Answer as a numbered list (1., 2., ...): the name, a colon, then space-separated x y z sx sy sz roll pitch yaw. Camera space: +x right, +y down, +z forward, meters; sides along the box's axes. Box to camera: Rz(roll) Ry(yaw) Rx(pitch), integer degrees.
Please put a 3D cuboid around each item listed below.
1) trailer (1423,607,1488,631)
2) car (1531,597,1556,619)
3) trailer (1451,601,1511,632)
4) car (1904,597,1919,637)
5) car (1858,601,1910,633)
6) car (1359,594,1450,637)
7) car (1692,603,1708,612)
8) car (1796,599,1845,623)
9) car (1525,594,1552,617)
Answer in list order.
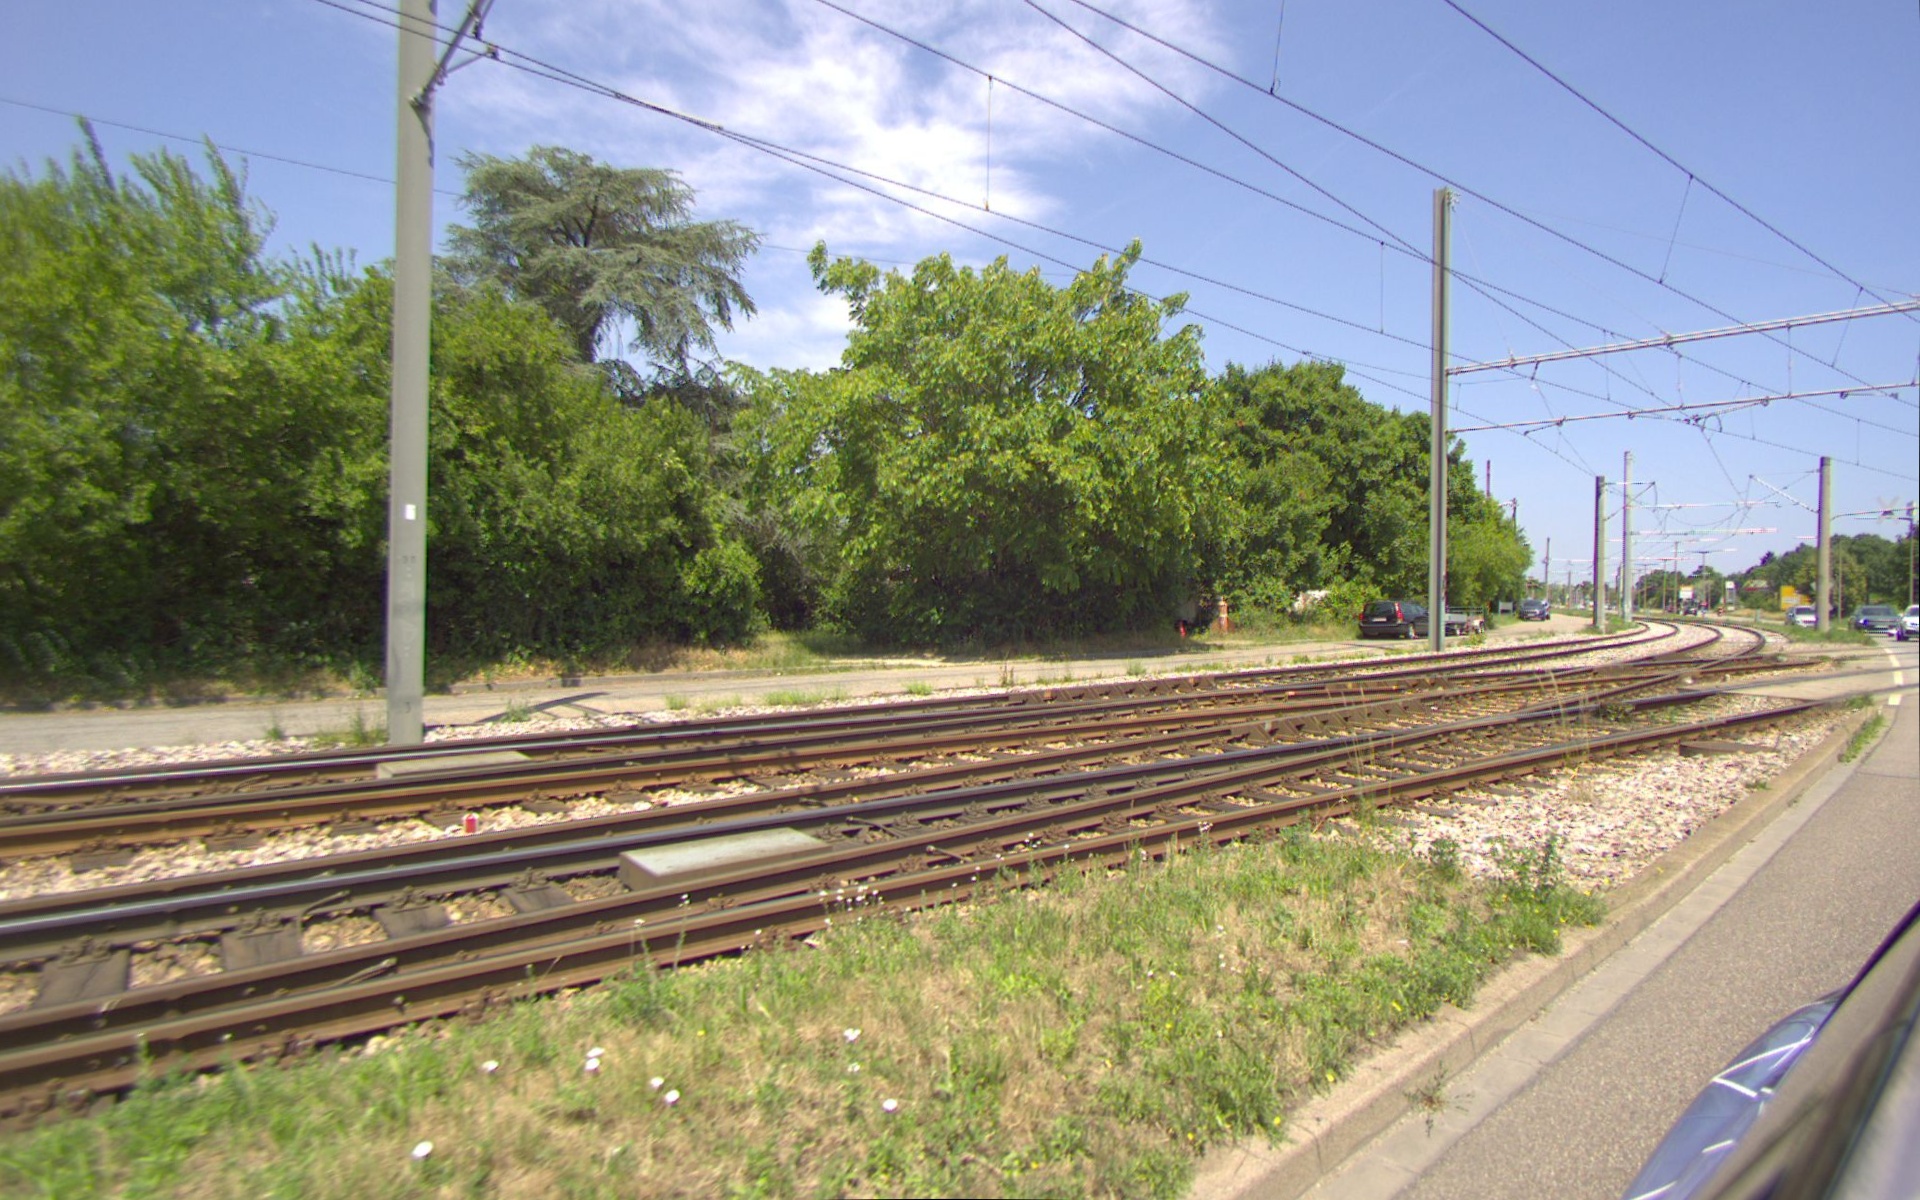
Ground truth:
1. trailer: 21.382 0.814 43.586 1.418 1.007 3.937 -2 -2 43
2. car: 49.521 0.652 85.979 1.666 1.644 4.666 1 2 28
3. trailer: 23.997 0.733 46.570 1.462 1.237 3.938 2 2 43
4. car: 38.198 0.661 39.331 1.763 1.460 4.074 1 2 37
5. car: 46.497 0.840 50.964 1.501 1.449 3.316 1 2 36
6. car: 17.200 0.542 39.082 1.796 1.444 4.667 2 2 43
7. car: 130.061 1.309 177.907 1.818 1.622 4.433 1 0 32
8. car: 59.945 0.736 70.557 1.793 1.492 3.480 1 2 27
9. car: 46.364 0.419 81.096 1.819 1.677 4.764 1 2 31
